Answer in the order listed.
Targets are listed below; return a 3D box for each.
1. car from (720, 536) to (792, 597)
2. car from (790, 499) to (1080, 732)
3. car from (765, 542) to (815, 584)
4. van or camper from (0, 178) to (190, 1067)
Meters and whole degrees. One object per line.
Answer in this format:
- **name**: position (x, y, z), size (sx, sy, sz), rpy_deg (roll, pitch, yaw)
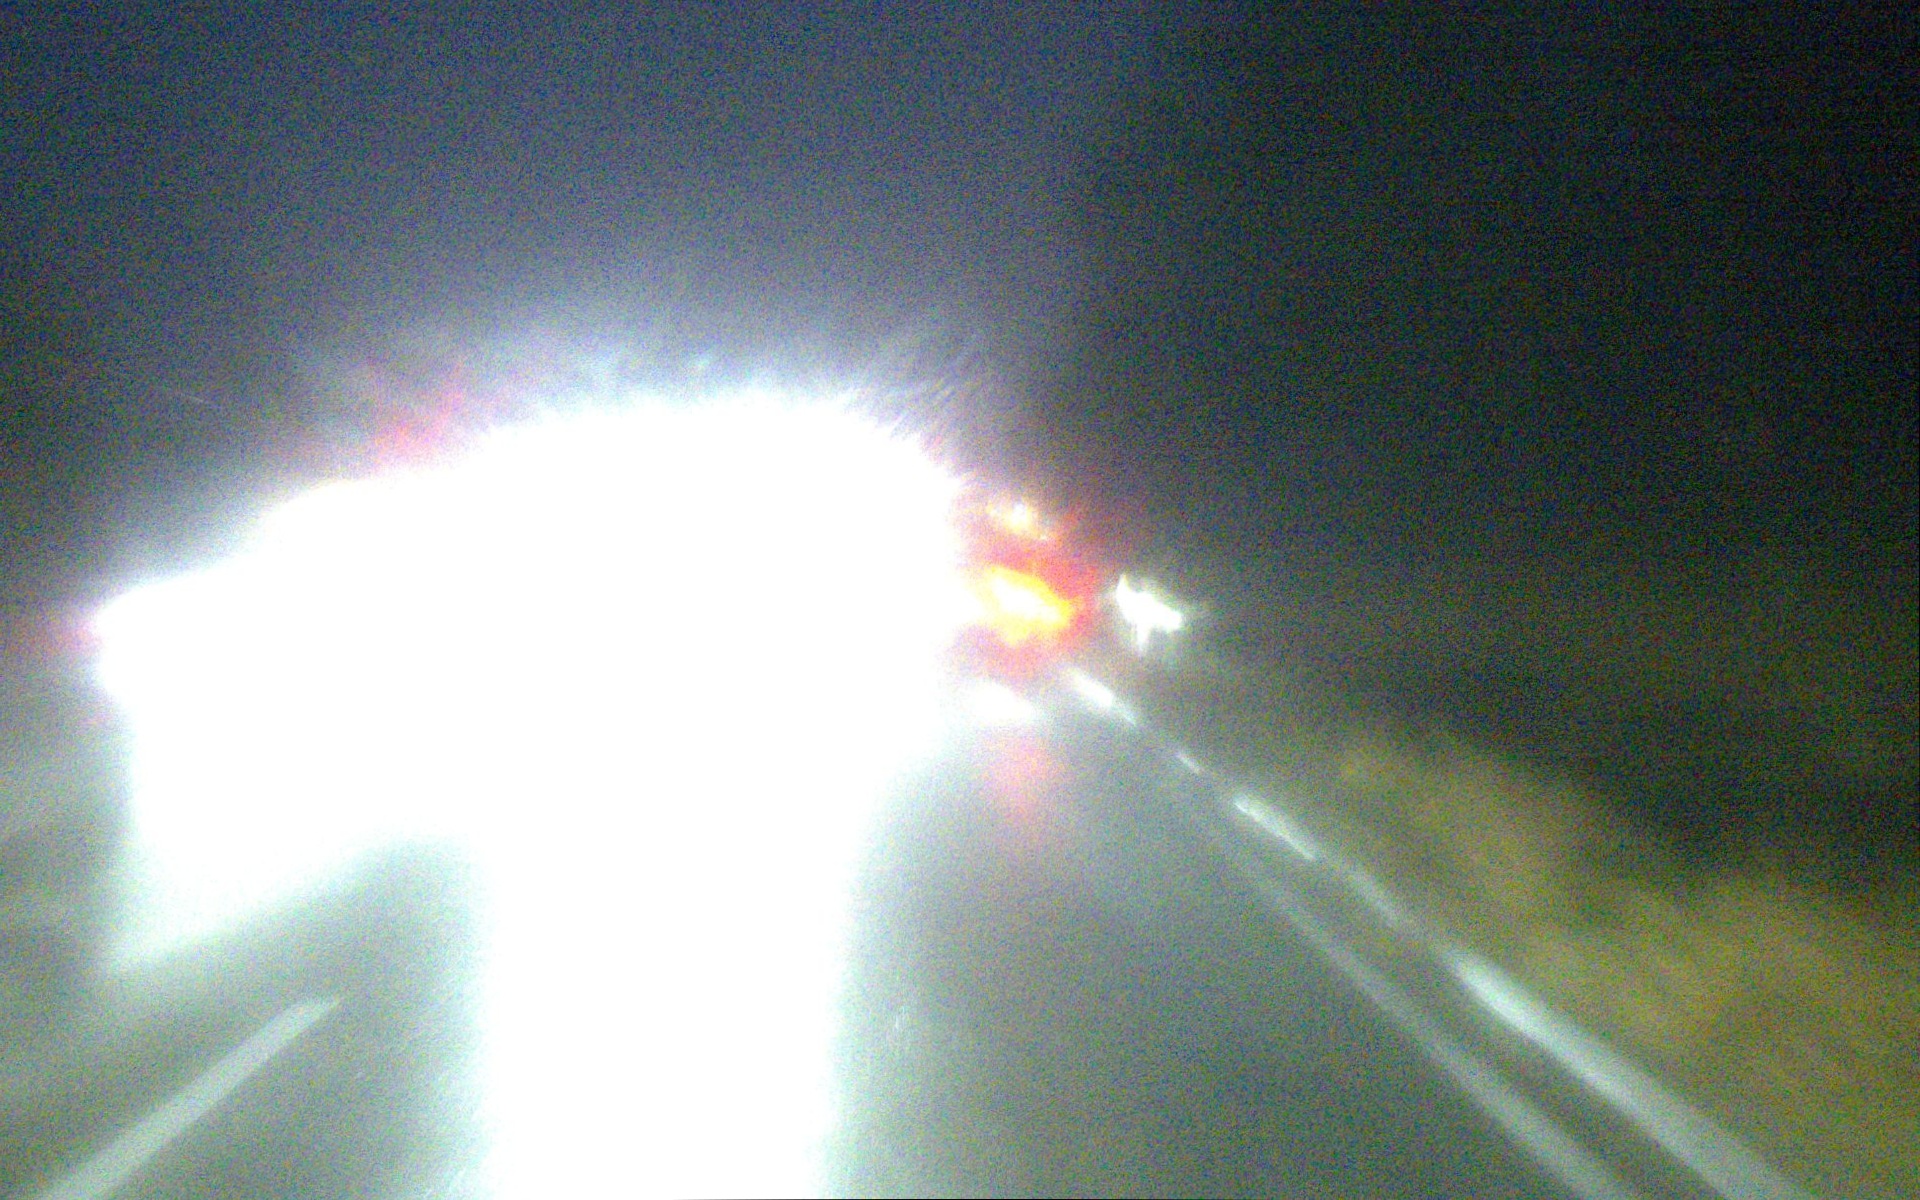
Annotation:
- **car**: position (-5.633, -0.948, 95.333), size (1.804, 1.622, 4.407), rpy_deg (-2, 1, -2)
- **car**: position (-0.207, 0.097, 32.128), size (2.458, 1.952, 4.912), rpy_deg (1, 1, 0)
- **car**: position (-6.635, -1.468, 134.279), size (1.765, 1.514, 4.490), rpy_deg (-2, 1, -1)
- **van or camper**: position (-3.822, 0.093, 9.409), size (2.123, 2.557, 5.784), rpy_deg (-2, 1, -1)
